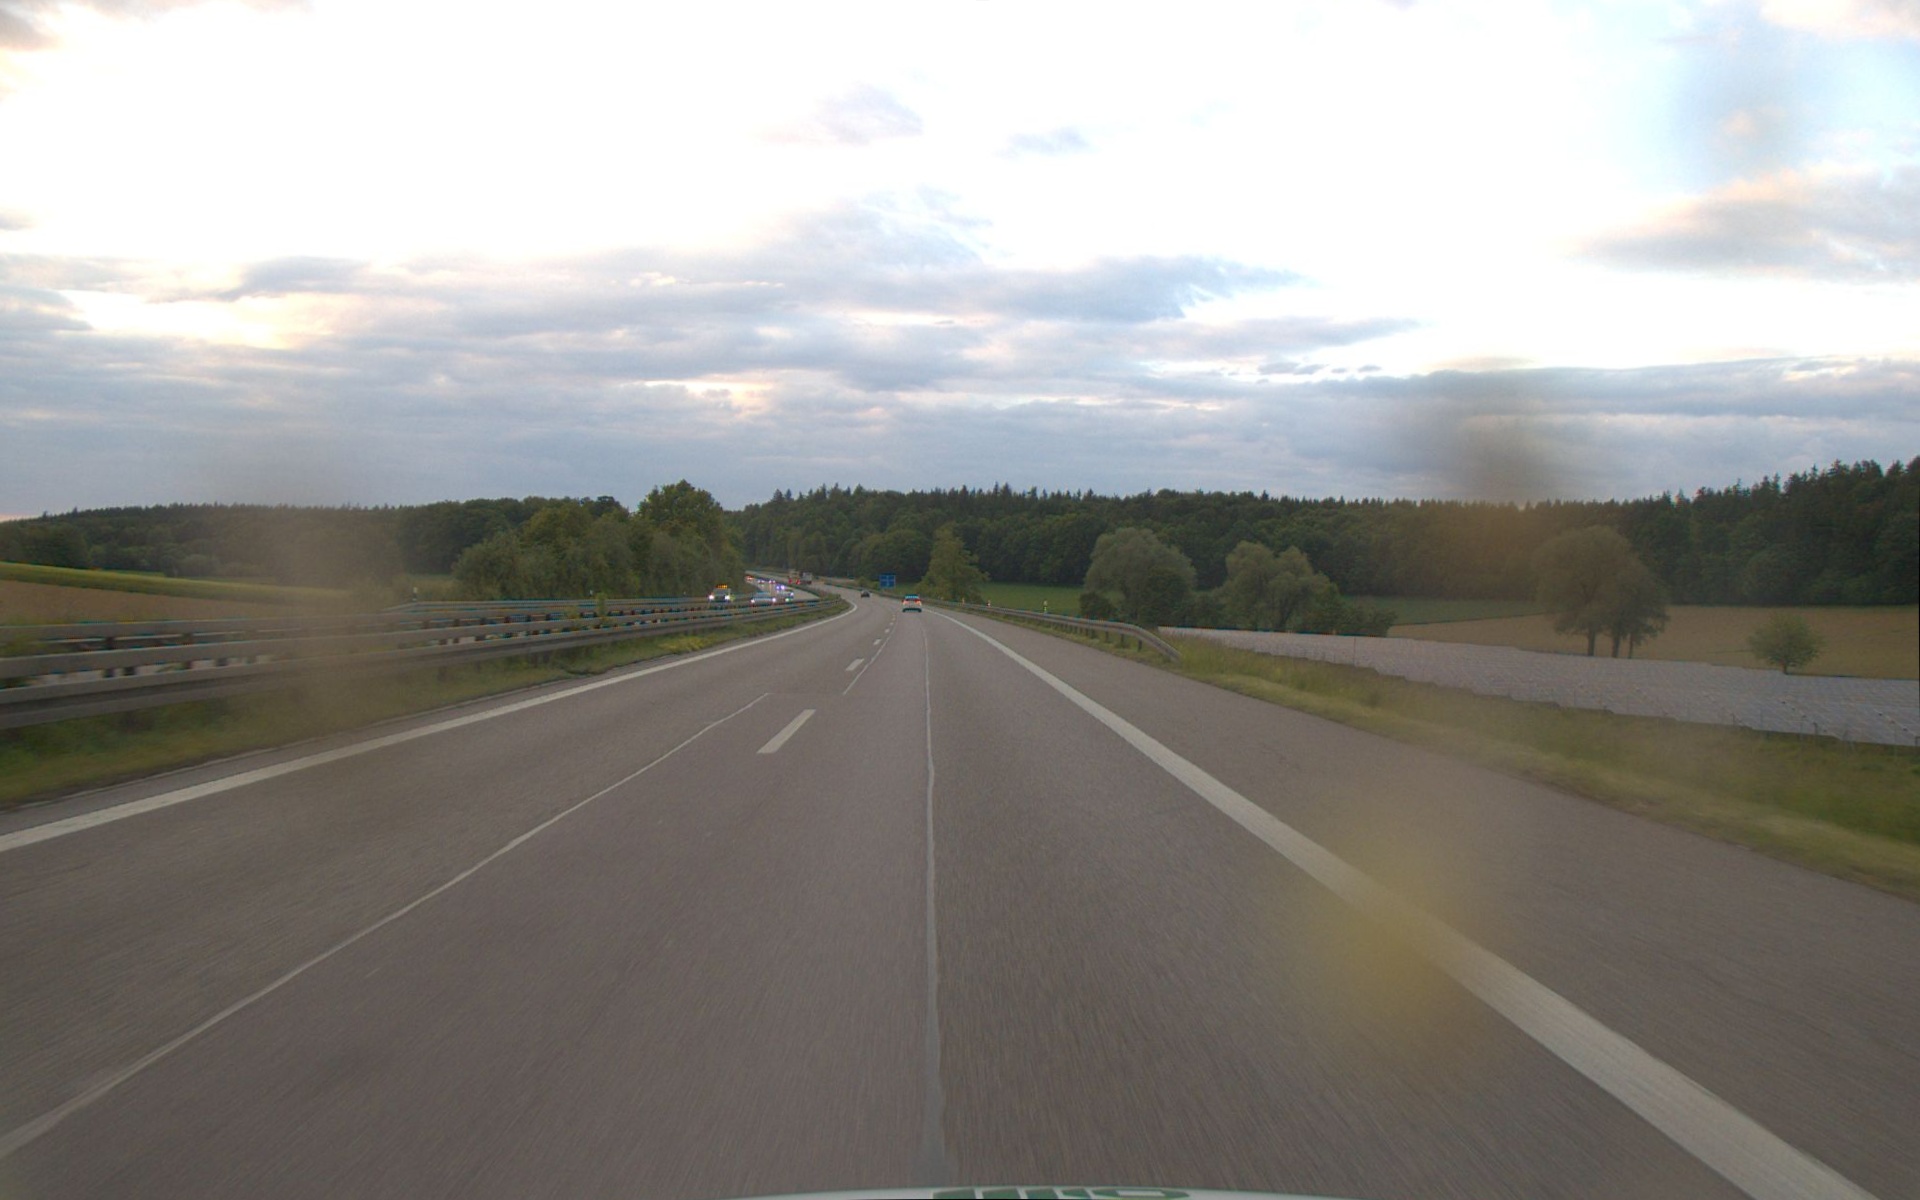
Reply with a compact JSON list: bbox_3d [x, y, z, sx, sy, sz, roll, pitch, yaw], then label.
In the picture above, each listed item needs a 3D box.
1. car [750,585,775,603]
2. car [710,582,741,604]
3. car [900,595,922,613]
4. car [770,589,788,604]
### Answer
[{"bbox_3d":[-16.717,-0.548,139.920,1.535,1.389,4.619,3,1,-1],"label":"car"},{"bbox_3d":[-20.533,-0.603,145.090,1.848,1.723,5.767,3,0,-1],"label":"car"},{"bbox_3d":[-4.592,0.370,155.727,1.913,1.558,4.078,3,1,-3],"label":"car"},{"bbox_3d":[-18.492,-0.364,169.059,1.627,1.465,4.127,3,1,-4],"label":"car"}]
